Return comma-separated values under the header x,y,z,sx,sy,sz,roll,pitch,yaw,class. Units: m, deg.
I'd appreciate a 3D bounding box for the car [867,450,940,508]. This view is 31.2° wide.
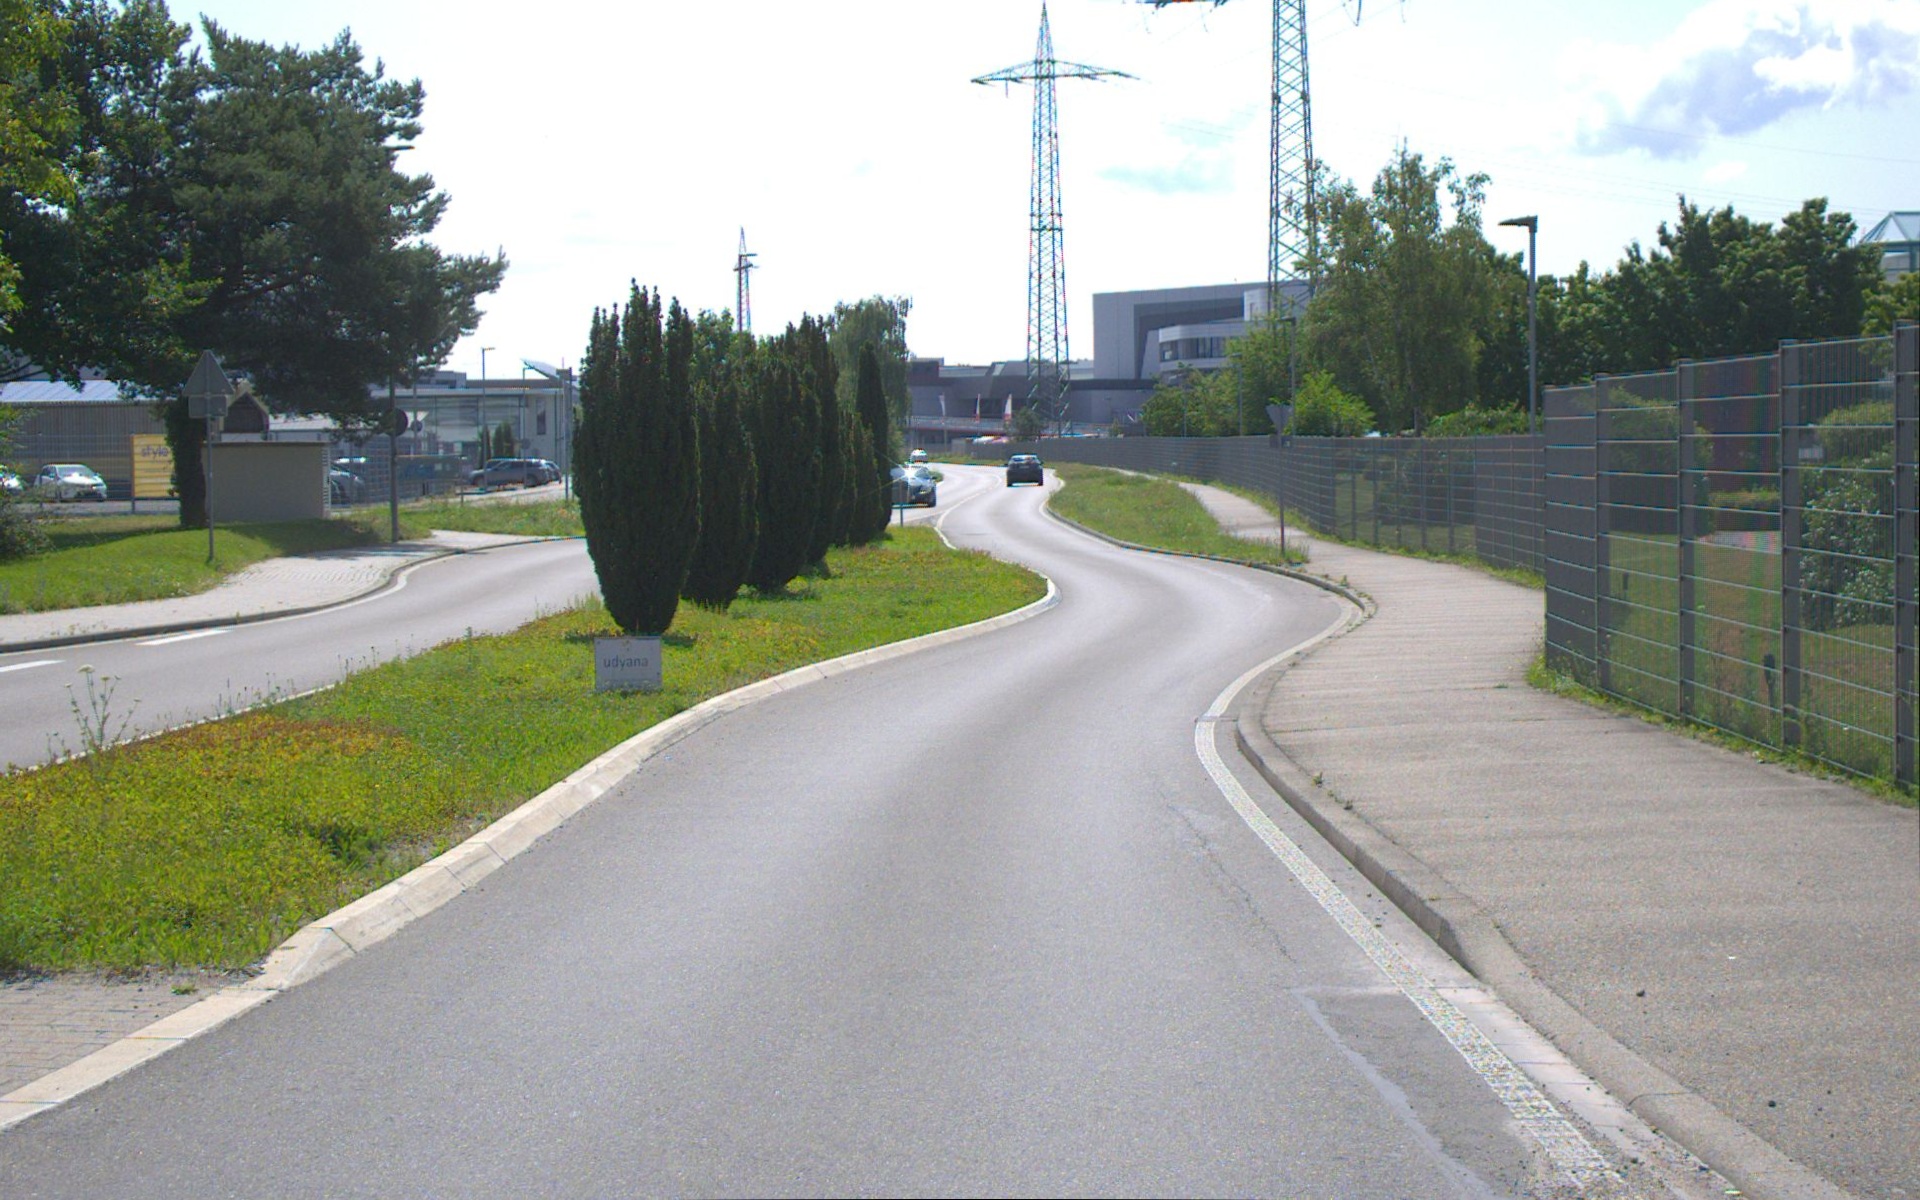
x,y,z,sx,sy,sz,roll,pitch,yaw,class
-2.041,-4.344,122.920,2.490,2.006,4.666,0,3,-2,car

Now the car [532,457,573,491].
x,y,z,sx,sy,sz,roll,pitch,yaw,class
-24.371,-7.522,205.468,1.993,2.007,4.000,0,1,-1,car

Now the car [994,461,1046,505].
x,y,z,sx,sy,sz,roll,pitch,yaw,class
2.955,-5.788,170.779,2.271,1.940,4.665,3,0,-2,car
